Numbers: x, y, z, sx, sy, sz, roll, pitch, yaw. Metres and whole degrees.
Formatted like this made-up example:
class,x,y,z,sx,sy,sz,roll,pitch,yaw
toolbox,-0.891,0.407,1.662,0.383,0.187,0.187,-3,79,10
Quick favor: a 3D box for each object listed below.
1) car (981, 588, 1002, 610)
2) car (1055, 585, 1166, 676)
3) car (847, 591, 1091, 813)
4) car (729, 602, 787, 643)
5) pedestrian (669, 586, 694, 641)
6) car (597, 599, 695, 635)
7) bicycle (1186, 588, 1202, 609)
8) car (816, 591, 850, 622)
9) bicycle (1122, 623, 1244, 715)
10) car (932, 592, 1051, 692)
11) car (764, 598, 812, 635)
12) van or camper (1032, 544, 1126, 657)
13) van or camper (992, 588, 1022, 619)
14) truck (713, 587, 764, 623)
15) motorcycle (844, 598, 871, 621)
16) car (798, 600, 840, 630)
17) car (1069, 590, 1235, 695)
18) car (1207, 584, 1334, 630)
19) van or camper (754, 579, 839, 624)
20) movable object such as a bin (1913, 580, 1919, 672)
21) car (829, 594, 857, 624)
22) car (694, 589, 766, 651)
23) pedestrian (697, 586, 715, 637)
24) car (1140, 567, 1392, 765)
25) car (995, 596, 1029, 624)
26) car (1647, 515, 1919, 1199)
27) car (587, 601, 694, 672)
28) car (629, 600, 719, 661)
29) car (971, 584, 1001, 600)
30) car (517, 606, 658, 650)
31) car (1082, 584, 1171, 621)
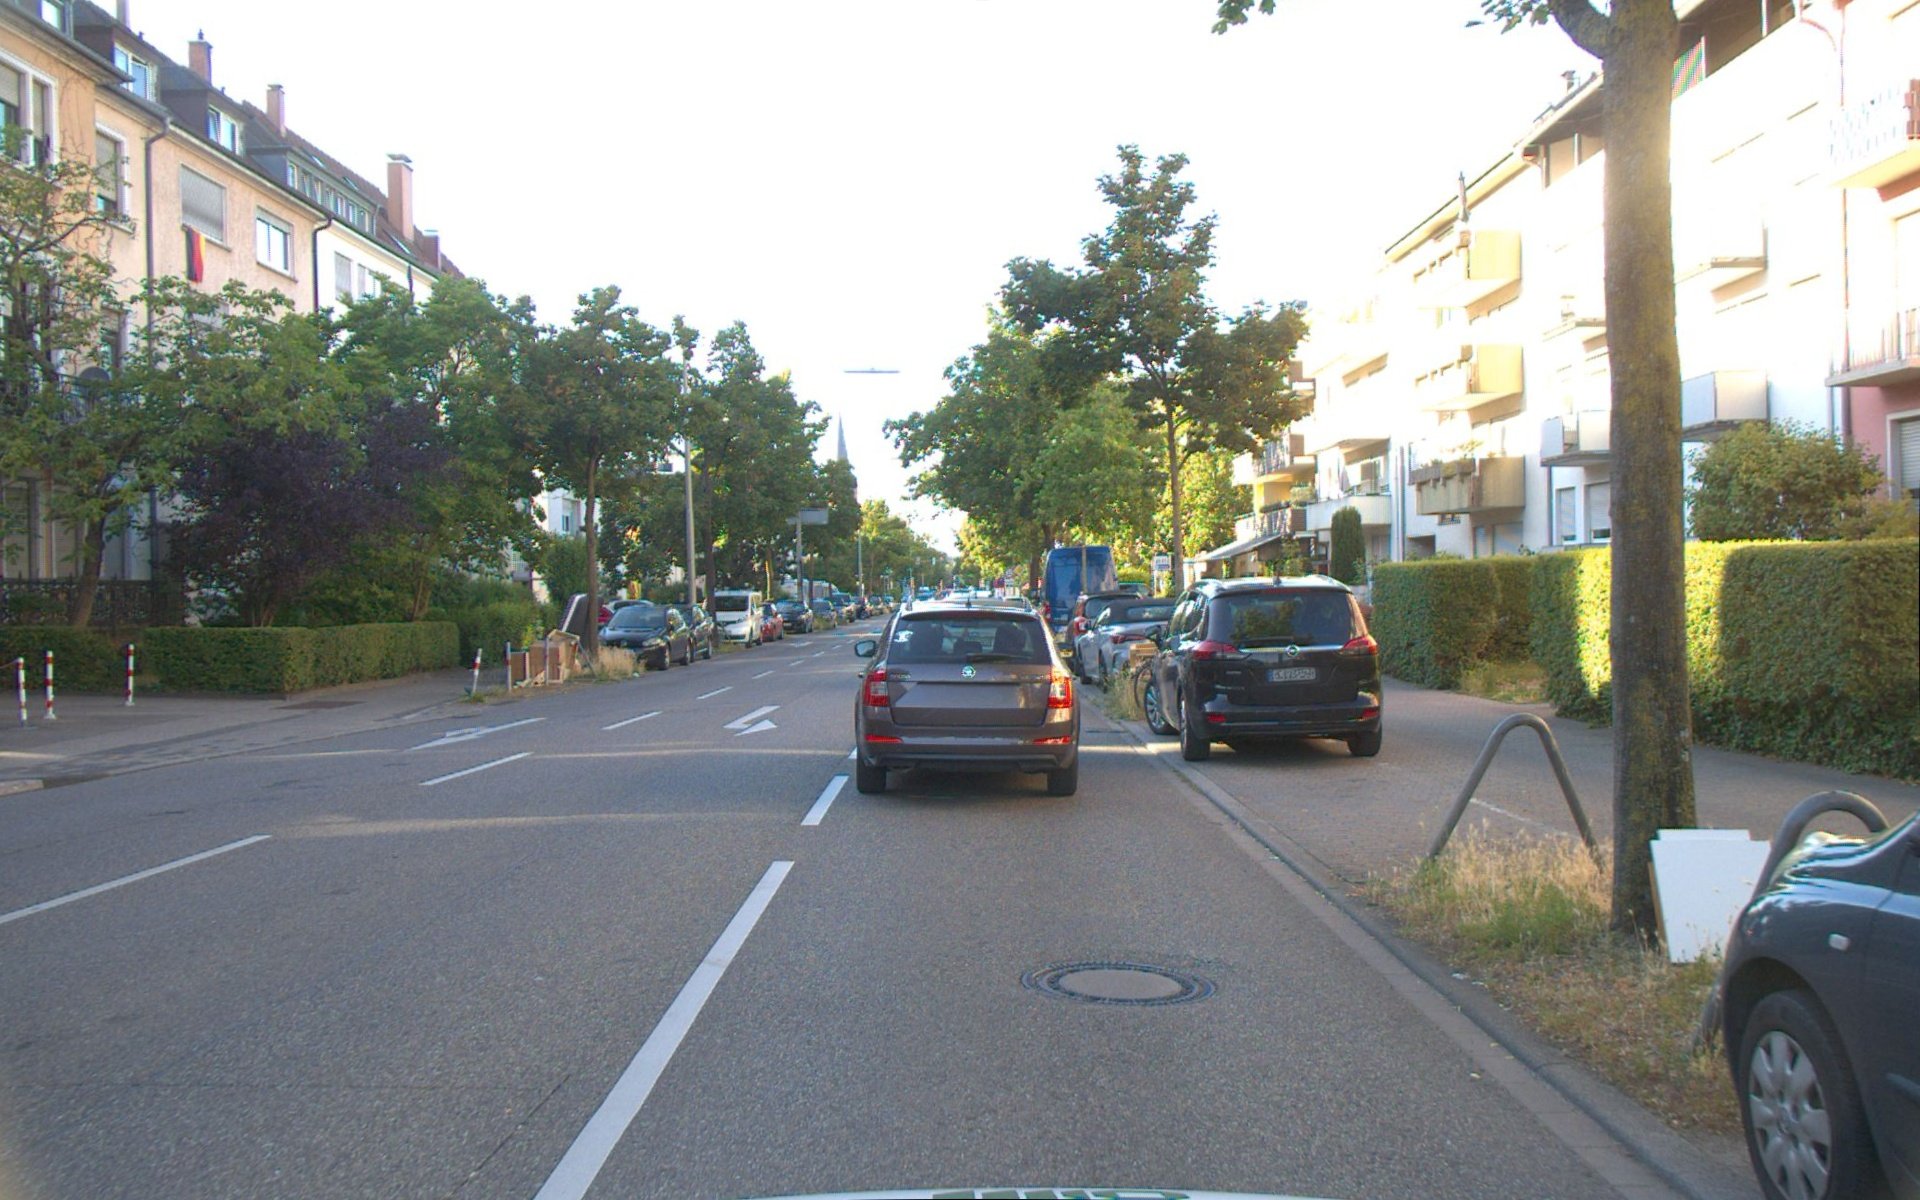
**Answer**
class,x,y,z,sx,sy,sz,roll,pitch,yaw
car,2.786,-0.106,148.738,1.694,1.847,3.950,-1,1,-1
car,2.923,0.583,32.787,1.737,1.671,3.756,-1,0,-2
car,0.120,0.705,13.567,1.693,1.520,3.952,-1,1,2
car,-7.579,0.827,62.392,1.681,1.446,3.786,-1,1,0
pedestrian,-10.470,0.510,62.093,0.751,2.049,0.976,-1,0,-1
car,-13.507,0.725,71.311,3.908,1.505,1.999,0,0,-4
bicycle,11.128,-0.061,78.712,0.335,0.967,1.580,2,0,-5
car,-7.571,0.390,98.955,1.714,1.771,3.591,-1,1,0
bicycle,2.777,0.849,20.577,1.451,1.077,0.410,-1,0,-13
car,0.466,0.652,27.969,1.695,1.520,3.948,-1,1,-4
car,-7.690,0.710,74.198,1.681,1.524,4.248,-1,1,0
van or camper,3.038,0.032,43.395,2.025,2.722,5.989,-1,0,0
van or camper,3.203,0.203,112.948,1.953,2.049,4.000,-1,1,0
truck,-13.424,0.310,100.394,2.854,2.130,1.546,-1,0,-1
motorcycle,-7.083,0.655,113.983,0.760,1.538,1.999,-1,1,-42
car,-7.299,0.769,85.771,1.718,1.445,4.426,-1,1,1
car,2.992,0.613,26.776,1.882,1.512,4.743,-1,1,-3
car,10.542,0.227,56.270,3.908,1.487,1.823,-1,0,-3
van or camper,-14.787,0.132,150.138,7.486,3.942,1.999,-1,0,-2
movable object such as a bin,10.999,0.291,18.154,0.598,1.020,0.796,-1,0,0
car,-7.292,0.538,103.622,1.476,1.788,3.693,-1,1,0
car,-7.610,0.613,55.130,1.733,1.952,4.460,-1,1,0
pedestrian,-10.221,0.452,66.533,0.614,2.049,0.616,-1,0,-1
car,2.860,0.548,16.358,1.697,1.680,4.291,-1,1,0
car,2.822,0.527,89.030,1.783,1.438,4.112,-1,1,2
car,2.710,0.619,2.656,1.697,1.578,3.646,-1,1,0
car,-7.584,0.834,39.640,1.714,1.529,4.197,-1,1,0
car,-7.653,0.784,44.586,1.714,1.529,3.978,-1,1,0
car,3.080,-0.972,193.061,1.840,1.788,4.173,-1,1,27
car,-12.827,0.952,57.092,4.629,1.386,1.993,-1,0,-13
car,8.985,0.114,89.006,4.480,1.926,1.897,-1,0,-28
